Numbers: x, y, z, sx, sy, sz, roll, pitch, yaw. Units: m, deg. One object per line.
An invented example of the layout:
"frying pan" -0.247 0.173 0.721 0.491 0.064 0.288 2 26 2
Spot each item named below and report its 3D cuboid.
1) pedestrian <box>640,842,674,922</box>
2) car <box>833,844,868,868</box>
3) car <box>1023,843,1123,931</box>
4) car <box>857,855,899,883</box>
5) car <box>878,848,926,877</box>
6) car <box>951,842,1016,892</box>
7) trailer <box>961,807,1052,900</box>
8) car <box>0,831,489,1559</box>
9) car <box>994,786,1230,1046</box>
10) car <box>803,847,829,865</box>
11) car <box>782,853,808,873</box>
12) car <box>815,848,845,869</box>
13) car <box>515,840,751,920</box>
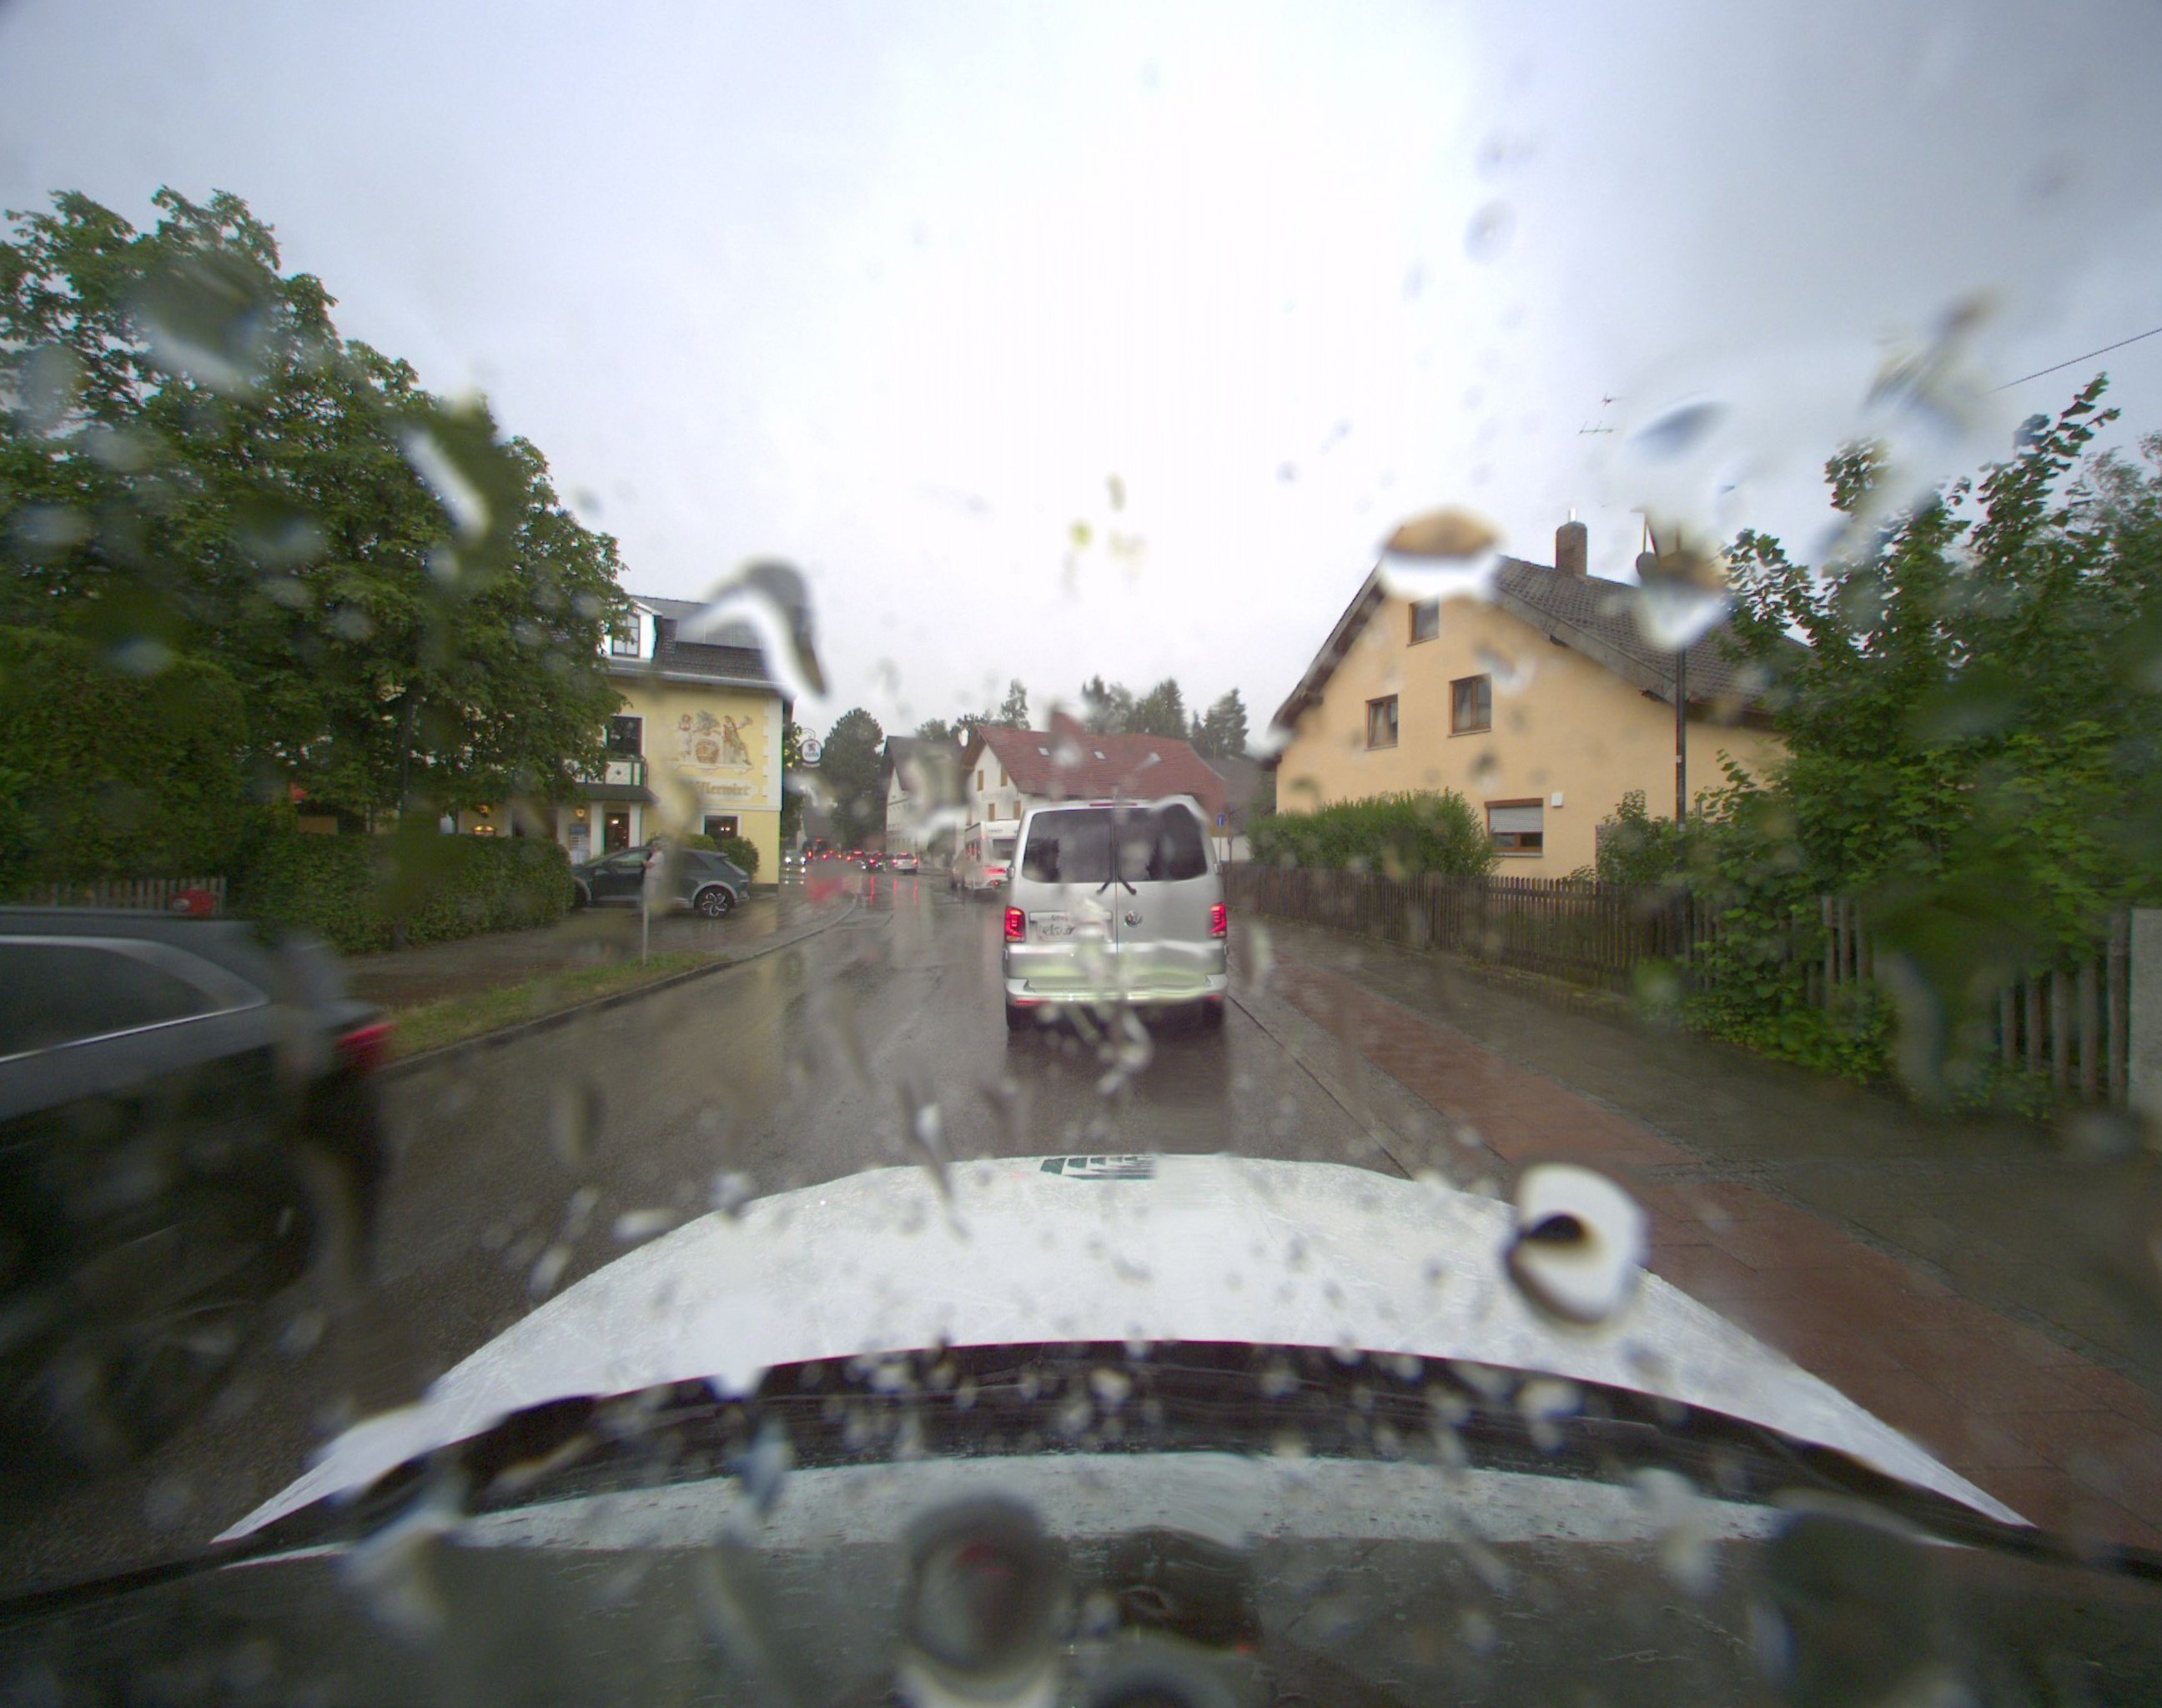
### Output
"pedestrian" -9.180 0.605 17.627 0.555 1.690 0.488 4 -1 -30
"car" -19.743 0.142 69.596 2.179 1.899 4.974 1 0 -25
"car" -0.317 0.578 17.576 1.706 1.584 4.676 -2 1 -6
"car" -15.239 1.075 61.031 2.179 1.899 4.974 1 0 -25
"car" -12.251 0.591 55.363 2.179 1.899 4.973 1 -1 -25
"car" -4.166 0.490 34.004 2.057 1.899 5.151 -1 0 -14
"trailer" -2.749 -0.019 28.559 2.274 2.904 6.103 -1 0 -14
"car" -3.112 0.732 0.964 1.632 1.520 4.190 -1 0 2
"car" 0.333 0.476 8.784 1.769 1.962 5.077 -1 0 2
"car" -29.439 0.160 90.394 2.179 1.899 4.974 1 0 -25
"car" -27.526 0.849 78.392 1.932 1.744 4.157 -2 0 -25
"car" -24.680 0.405 79.961 2.179 1.899 4.974 1 0 -25
"car" -10.182 0.613 18.858 4.499 1.567 1.824 4 1 -27
